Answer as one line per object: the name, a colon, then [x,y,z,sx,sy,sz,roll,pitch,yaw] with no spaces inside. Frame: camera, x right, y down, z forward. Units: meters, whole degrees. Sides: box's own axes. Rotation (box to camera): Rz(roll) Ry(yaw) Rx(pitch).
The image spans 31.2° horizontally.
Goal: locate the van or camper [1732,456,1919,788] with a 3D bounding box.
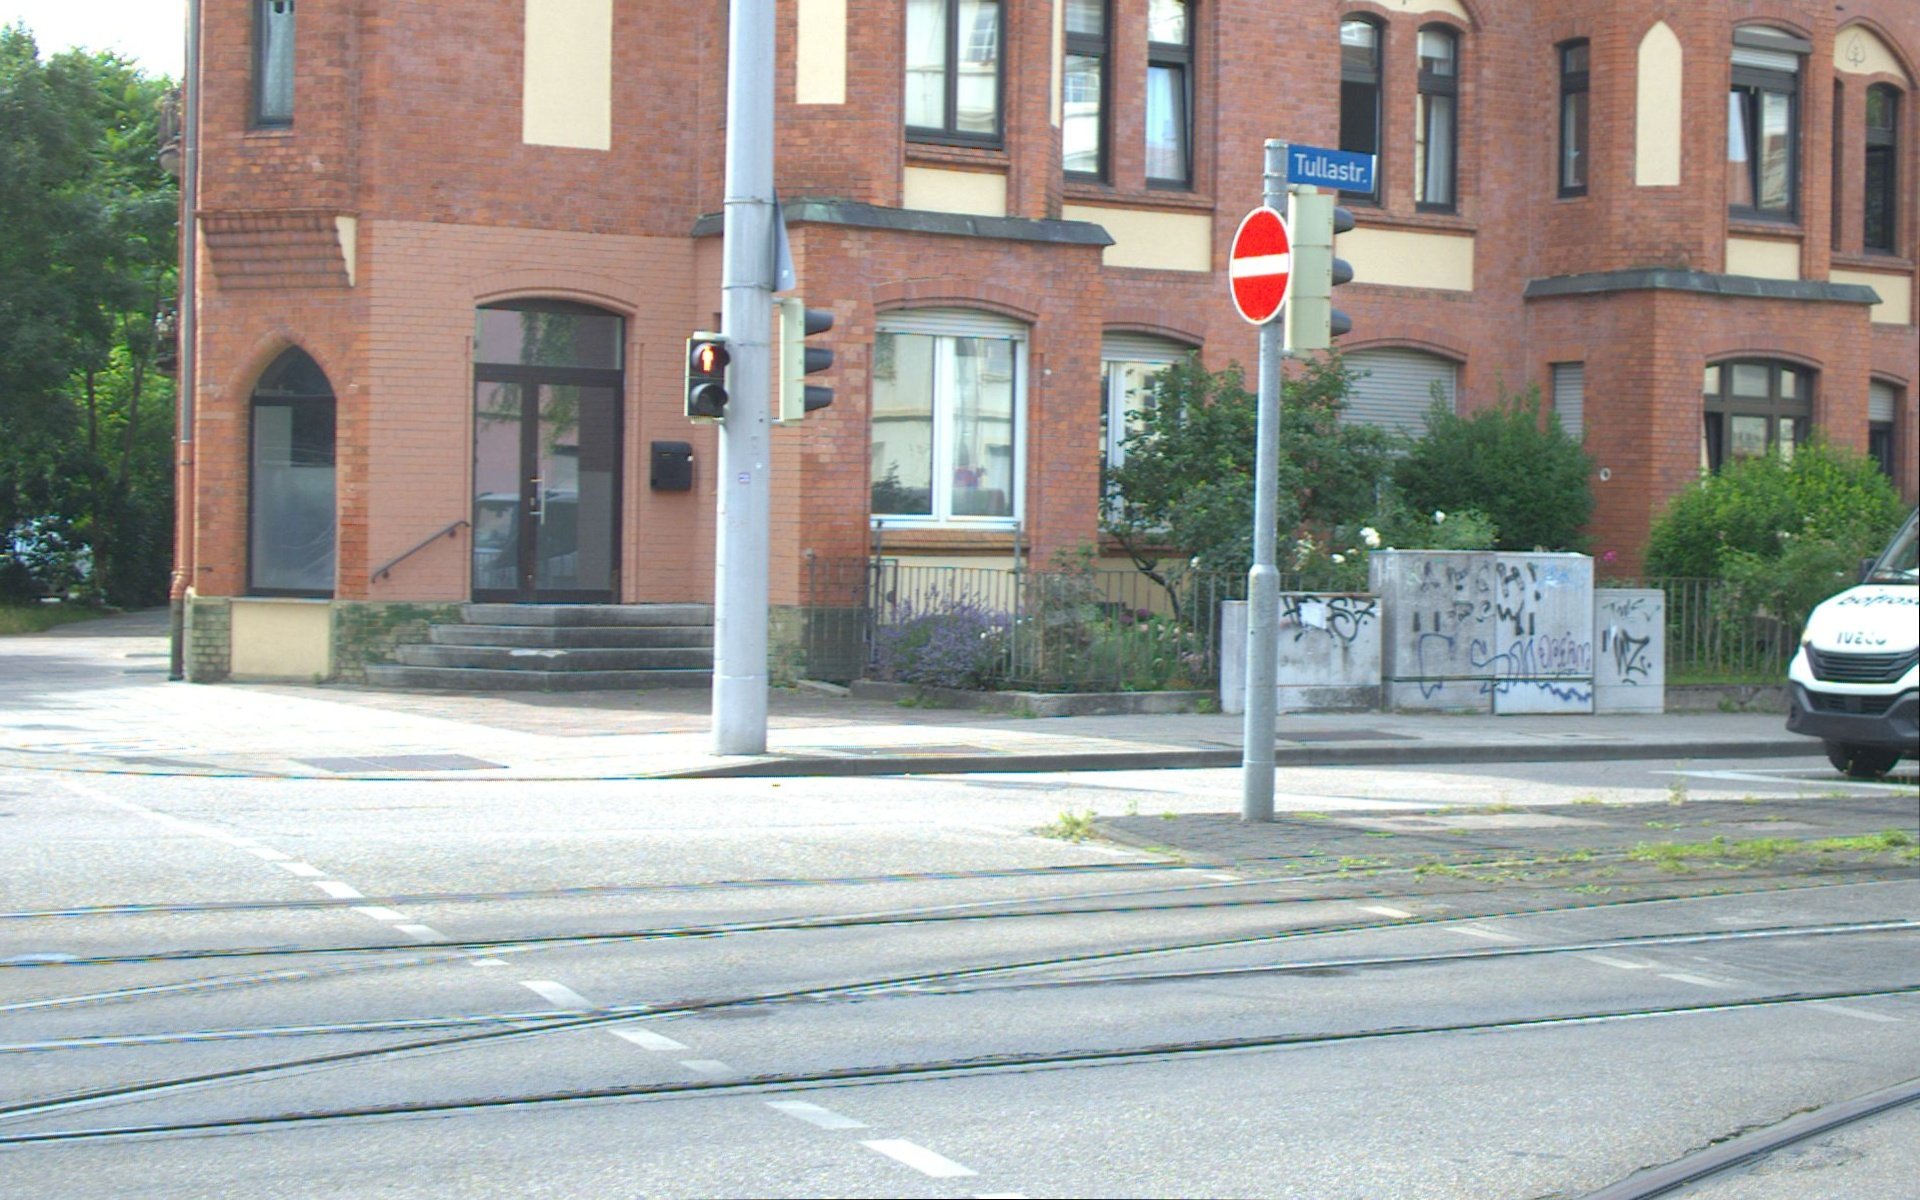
van or camper: [9.011,0.155,25.498,6.523,2.246,2.248,1,1,-29]
